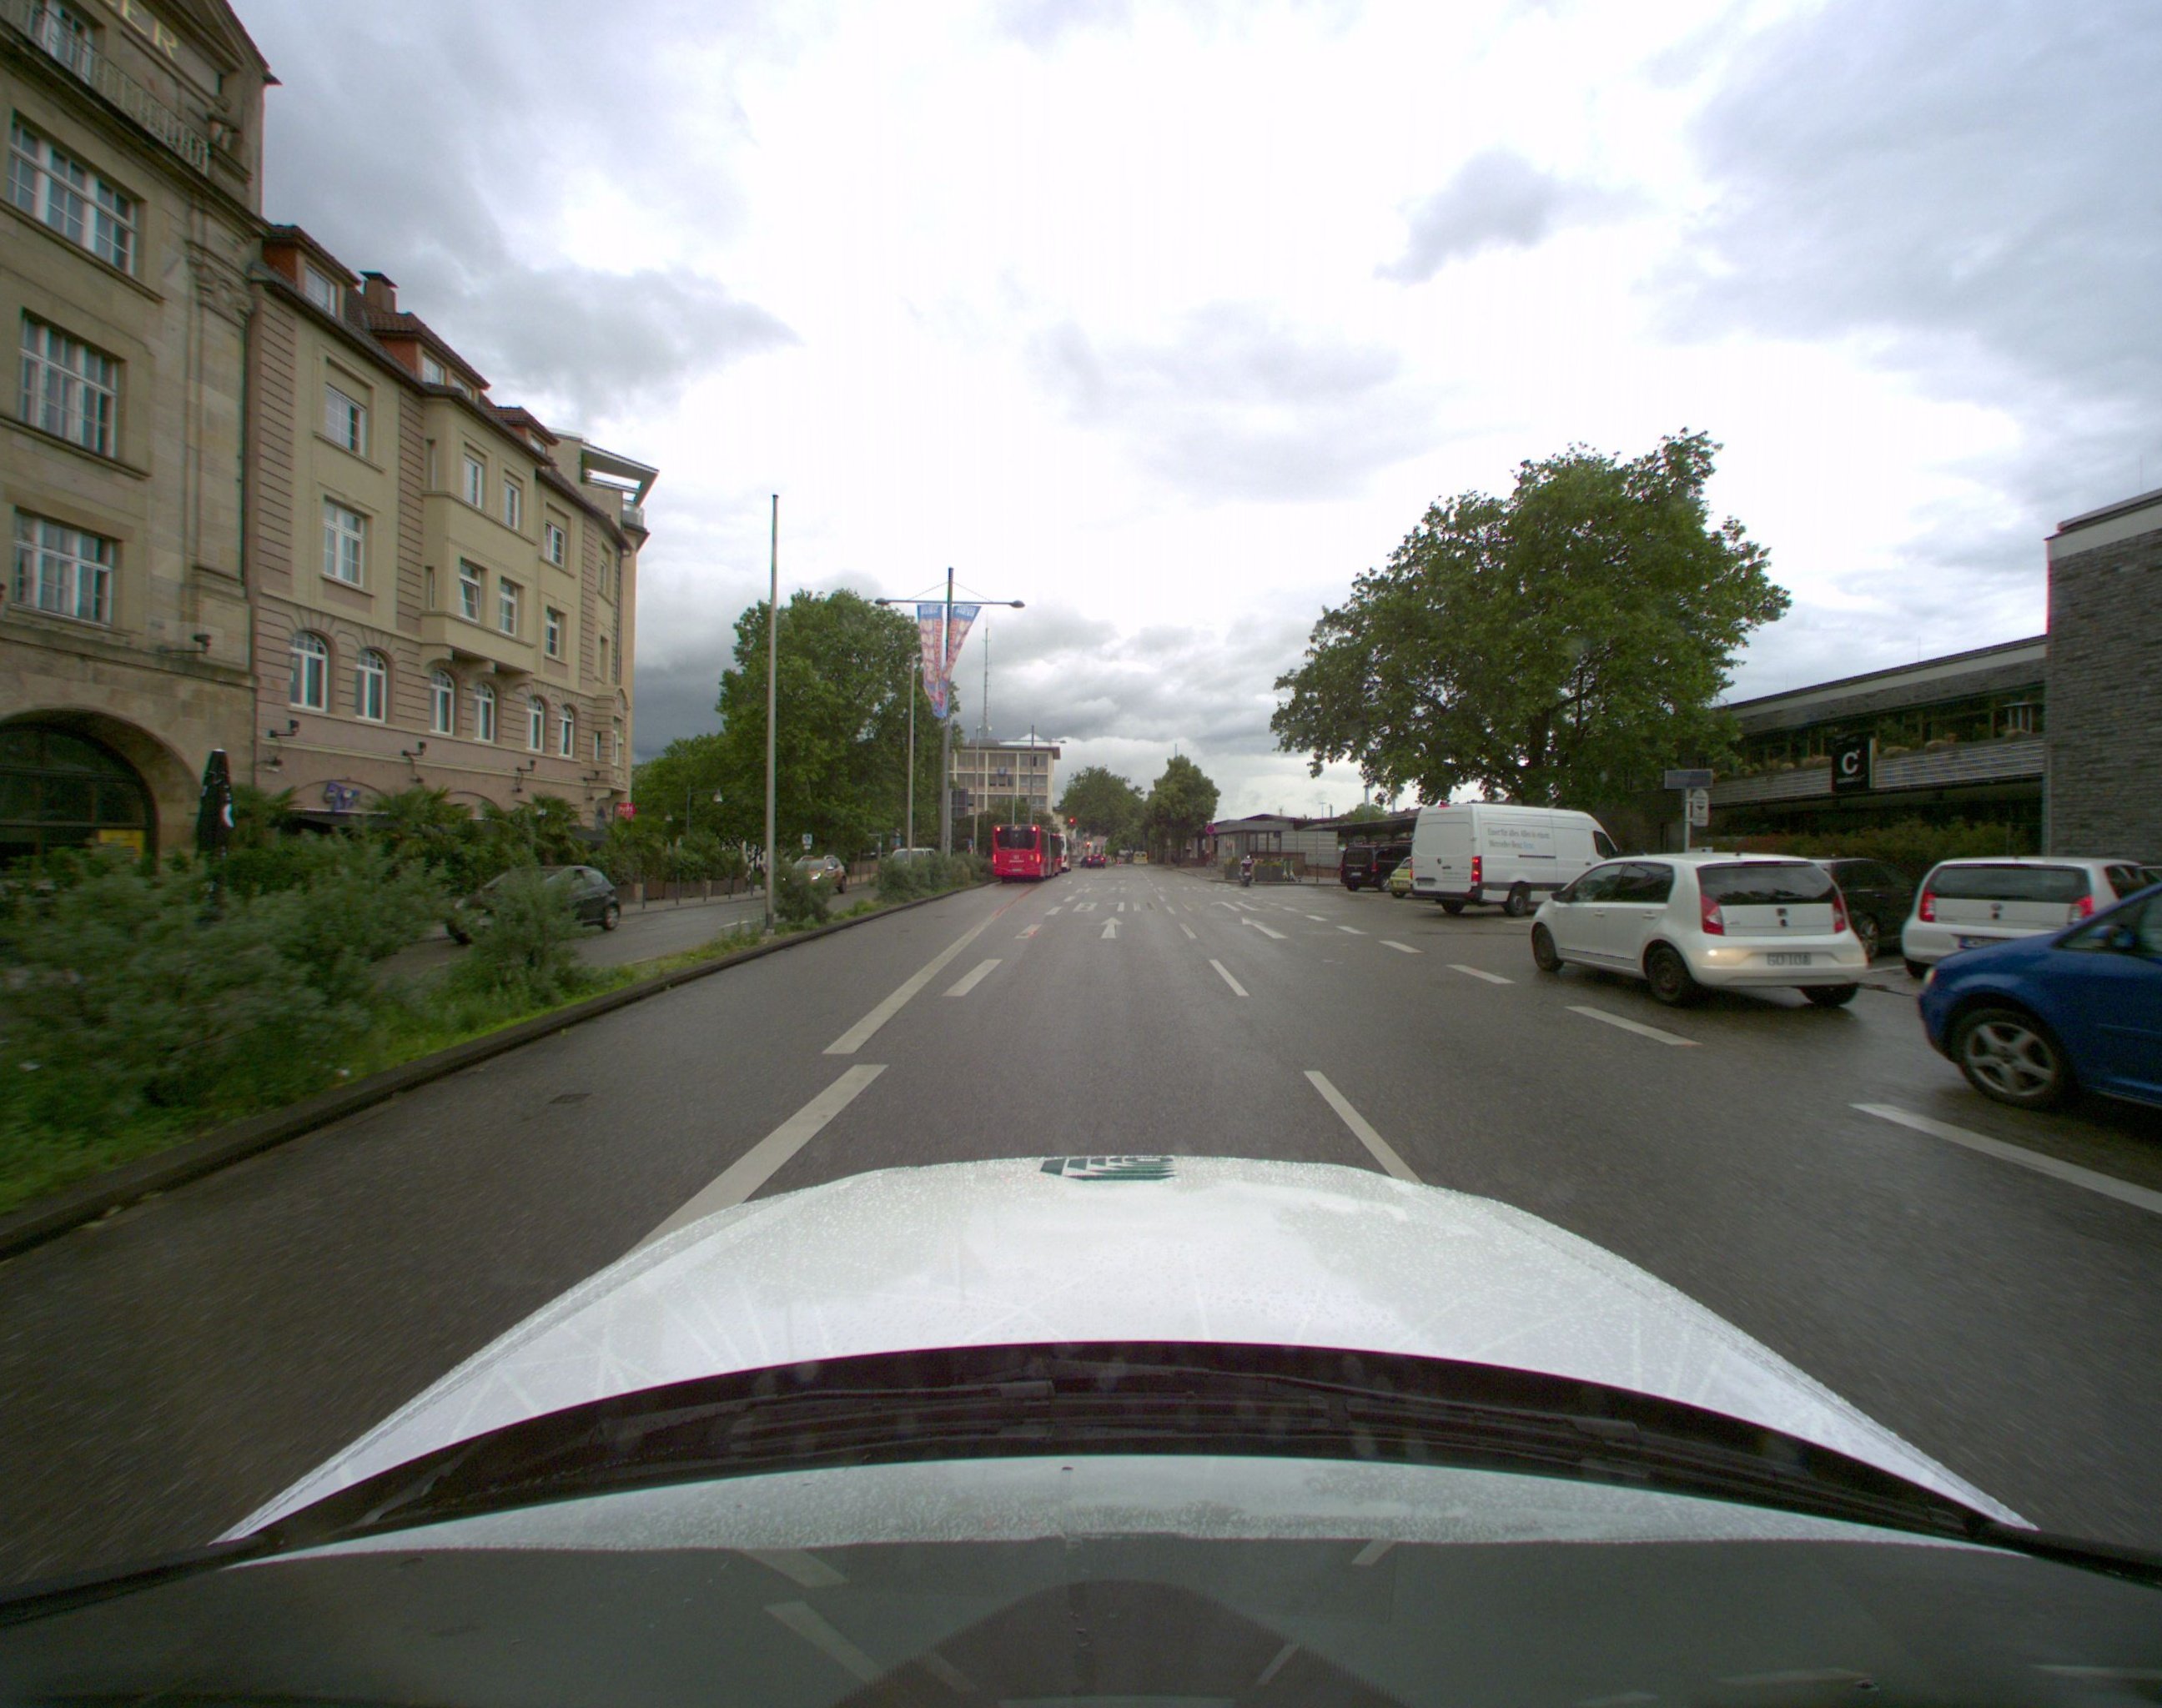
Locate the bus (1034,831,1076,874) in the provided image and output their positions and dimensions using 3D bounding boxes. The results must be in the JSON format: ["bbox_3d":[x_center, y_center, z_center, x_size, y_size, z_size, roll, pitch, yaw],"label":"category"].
[{"bbox_3d":[-2.195,-0.124,72.874,2.944,3.439,12.563,0,0,2],"label":"bus"}]

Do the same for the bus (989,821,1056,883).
[{"bbox_3d":[-3.210,-0.114,47.619,2.798,3.245,9.919,0,0,2],"label":"bus"}]

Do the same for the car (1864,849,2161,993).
[{"bbox_3d":[11.276,0.661,9.670,3.628,1.399,1.764,-1,0,-27],"label":"car"}]

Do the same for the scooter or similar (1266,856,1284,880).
[{"bbox_3d":[9.658,0.709,40.593,0.409,1.155,1.271,2,0,34],"label":"scooter or similar"}]

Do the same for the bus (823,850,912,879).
[{"bbox_3d":[-27.780,1.357,105.710,11.827,3.019,2.905,-4,-2,23],"label":"bus"}]

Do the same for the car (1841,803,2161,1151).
[{"bbox_3d":[6.081,0.584,3.475,1.811,1.682,4.423,-1,0,5],"label":"car"}]

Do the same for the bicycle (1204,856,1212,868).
[{"bbox_3d":[10.693,0.666,68.641,0.444,1.016,1.677,-3,0,1],"label":"bicycle"}]

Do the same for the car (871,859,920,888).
[{"bbox_3d":[-10.867,1.115,48.112,1.785,1.579,4.739,-1,0,0],"label":"car"}]

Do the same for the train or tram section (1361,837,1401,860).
[{"bbox_3d":[43.807,-0.729,119.350,2.644,3.282,9.137,-1,-1,2],"label":"train or tram section"}]

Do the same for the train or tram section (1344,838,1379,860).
[{"bbox_3d":[44.101,-0.775,128.310,2.644,3.282,8.766,-1,-1,2],"label":"train or tram section"}]

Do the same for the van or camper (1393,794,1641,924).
[{"bbox_3d":[11.120,0.078,20.611,6.546,2.869,2.259,-1,0,-28],"label":"van or camper"}]

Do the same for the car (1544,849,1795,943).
[{"bbox_3d":[10.852,0.677,14.974,4.480,1.471,1.903,-1,0,-27],"label":"car"}]

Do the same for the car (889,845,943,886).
[{"bbox_3d":[-8.500,0.553,42.295,1.915,1.974,4.853,-1,0,-1],"label":"car"}]

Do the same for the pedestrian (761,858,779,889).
[{"bbox_3d":[-15.811,0.990,41.377,0.689,1.529,0.725,-1,0,-10],"label":"pedestrian"}]

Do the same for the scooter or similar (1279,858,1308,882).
[{"bbox_3d":[10.628,0.791,40.736,1.060,1.155,1.668,2,0,3],"label":"scooter or similar"}]

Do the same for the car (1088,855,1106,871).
[{"bbox_3d":[1.802,0.997,91.217,1.957,1.640,4.359,-1,0,1],"label":"car"}]

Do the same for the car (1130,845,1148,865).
[{"bbox_3d":[8.139,0.129,113.890,2.256,2.656,4.001,-1,0,1],"label":"car"}]

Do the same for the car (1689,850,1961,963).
[{"bbox_3d":[10.976,0.667,12.002,3.697,1.399,1.764,-1,0,-27],"label":"car"}]

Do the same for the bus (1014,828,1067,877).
[{"bbox_3d":[-2.708,-0.107,56.996,2.740,3.132,8.851,-1,0,3],"label":"bus"}]

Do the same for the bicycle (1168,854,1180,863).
[{"bbox_3d":[13.415,0.678,117.418,1.703,1.249,0.489,-2,-1,34],"label":"bicycle"}]

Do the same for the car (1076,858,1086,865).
[{"bbox_3d":[0.053,1.518,161.547,1.683,1.297,4.098,1,-1,5],"label":"car"}]

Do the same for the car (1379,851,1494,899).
[{"bbox_3d":[12.324,0.692,28.230,3.598,1.524,1.747,-1,0,-27],"label":"car"}]

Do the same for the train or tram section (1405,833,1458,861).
[{"bbox_3d":[43.320,-0.813,101.107,2.644,3.282,9.523,-1,-1,2],"label":"train or tram section"}]

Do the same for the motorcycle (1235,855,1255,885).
[{"bbox_3d":[7.596,0.721,37.808,0.640,1.352,2.111,-1,0,3],"label":"motorcycle"}]

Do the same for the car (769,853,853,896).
[{"bbox_3d":[-11.270,0.829,34.333,1.986,1.680,4.104,-1,0,2],"label":"car"}]

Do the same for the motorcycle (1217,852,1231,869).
[{"bbox_3d":[12.021,0.552,68.579,0.789,1.348,2.457,0,0,0],"label":"motorcycle"}]

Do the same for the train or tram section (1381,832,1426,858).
[{"bbox_3d":[43.553,-1.175,110.306,2.644,3.282,9.137,-1,-1,2],"label":"train or tram section"}]

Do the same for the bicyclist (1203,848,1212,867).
[{"bbox_3d":[10.663,0.273,68.602,0.532,1.538,0.694,-2,-1,0],"label":"bicyclist"}]

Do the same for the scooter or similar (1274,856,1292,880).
[{"bbox_3d":[10.016,0.688,40.333,0.409,1.155,1.271,2,0,34],"label":"scooter or similar"}]

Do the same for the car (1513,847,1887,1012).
[{"bbox_3d":[6.506,0.680,9.118,1.649,1.474,3.593,-1,0,4],"label":"car"}]

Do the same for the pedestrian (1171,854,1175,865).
[{"bbox_3d":[13.218,0.829,117.008,0.452,1.569,0.396,-2,-1,34],"label":"pedestrian"}]

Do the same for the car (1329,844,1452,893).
[{"bbox_3d":[12.682,0.542,33.380,4.710,1.874,2.090,-1,0,-27],"label":"car"}]

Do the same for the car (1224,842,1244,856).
[{"bbox_3d":[20.862,-0.701,111.195,1.986,1.871,4.599,-1,0,1],"label":"car"}]

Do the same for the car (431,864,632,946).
[{"bbox_3d":[-11.055,0.953,16.734,1.623,1.432,3.758,-1,0,-1],"label":"car"}]
